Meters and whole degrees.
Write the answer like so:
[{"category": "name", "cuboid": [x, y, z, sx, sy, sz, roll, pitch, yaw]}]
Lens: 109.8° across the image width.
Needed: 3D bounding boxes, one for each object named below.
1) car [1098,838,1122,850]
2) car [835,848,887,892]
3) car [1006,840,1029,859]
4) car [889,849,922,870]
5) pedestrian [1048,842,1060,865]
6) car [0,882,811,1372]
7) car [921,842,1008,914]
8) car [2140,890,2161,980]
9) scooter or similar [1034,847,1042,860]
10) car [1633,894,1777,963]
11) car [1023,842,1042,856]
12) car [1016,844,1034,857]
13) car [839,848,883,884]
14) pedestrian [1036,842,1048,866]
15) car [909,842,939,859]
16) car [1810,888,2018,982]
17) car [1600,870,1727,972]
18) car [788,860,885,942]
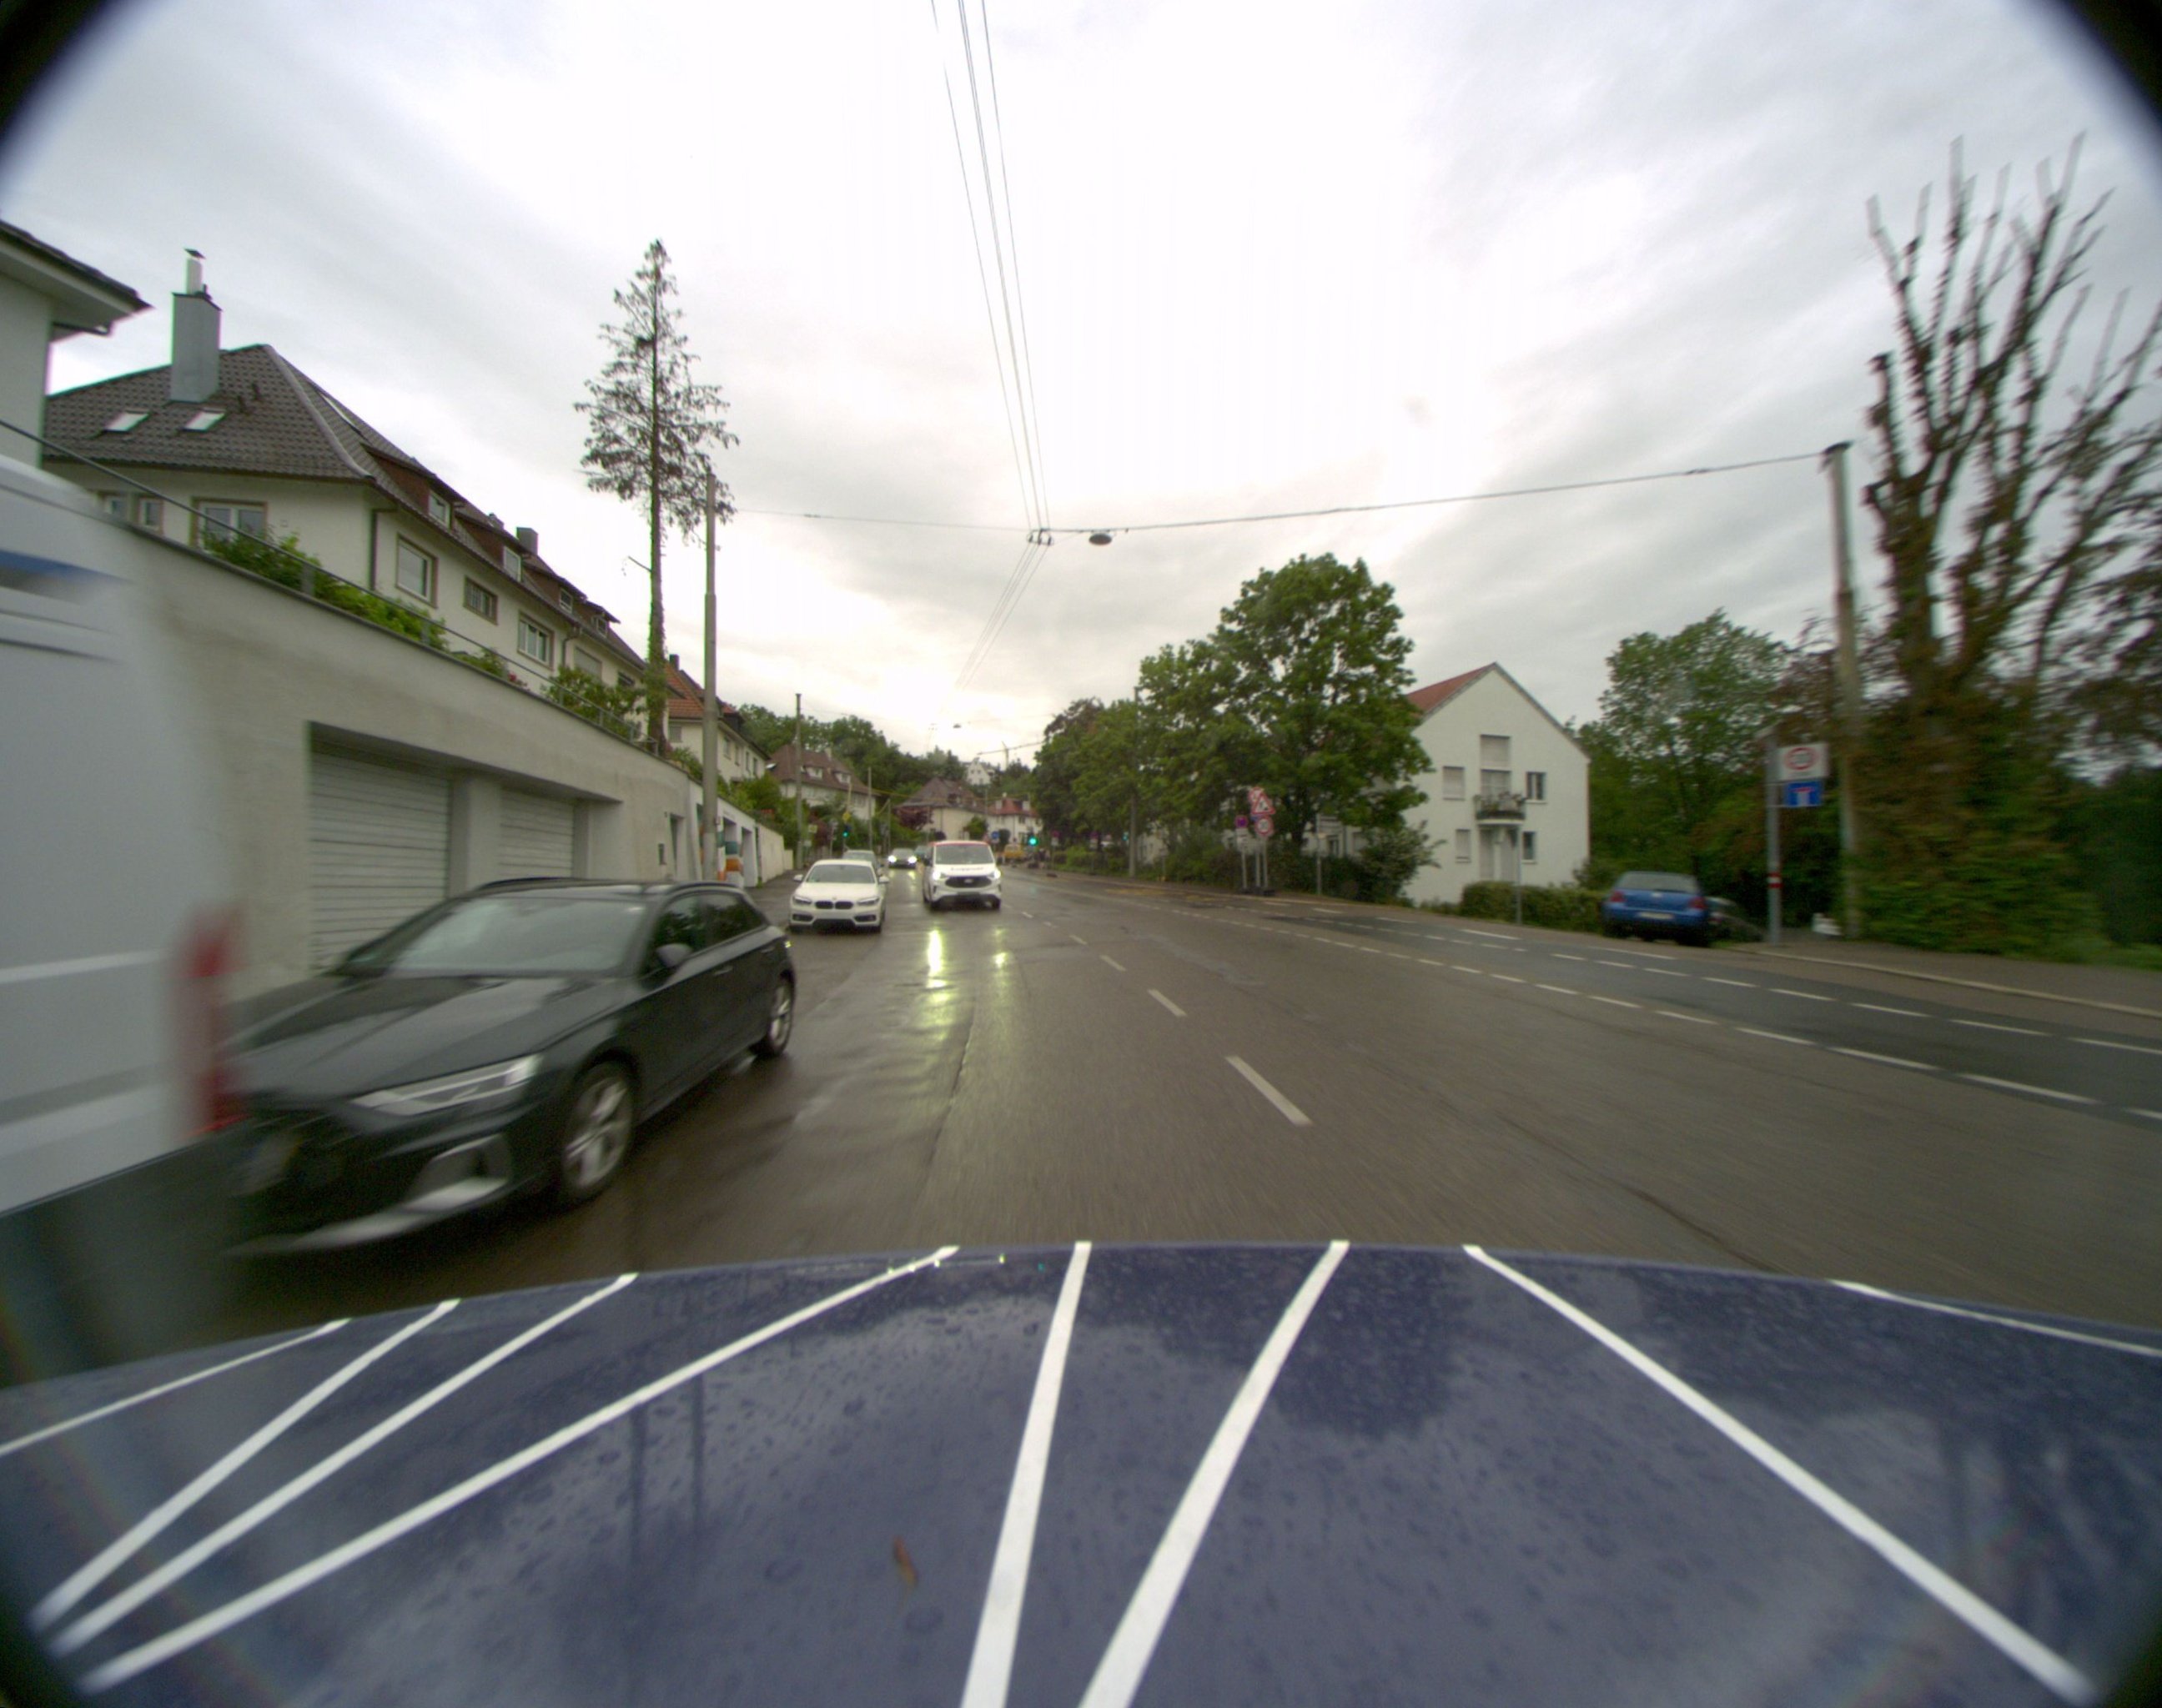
[{"category": "car", "cuboid": [4.613, -1.614, 122.257, 1.805, 1.791, 4.471, 2, 2, 33]}, {"category": "car", "cuboid": [-8.704, 0.584, 29.928, 1.721, 1.504, 3.992, 1, 1, -19]}, {"category": "car", "cuboid": [-6.764, -0.534, 81.464, 1.807, 1.917, 4.577, 2, 2, 3]}, {"category": "car", "cuboid": [-12.966, 0.359, 56.382, 1.990, 1.428, 4.510, 0, 2, -7]}, {"category": "pedestrian", "cuboid": [-2.179, -0.009, 60.253, 0.683, 1.806, 1.153, 0, 1, -16]}, {"category": "car", "cuboid": [-3.190, 1.007, 4.675, 1.758, 1.487, 4.182, 1, 0, -3]}, {"category": "car", "cuboid": [-3.581, 0.595, 22.681, 2.044, 1.928, 4.508, -1, 1, -15]}, {"category": "car", "cuboid": [16.216, 1.219, 9.660, 1.550, 1.319, 3.569, 2, 0, 23]}, {"category": "scooter or similar", "cuboid": [-4.423, -0.018, 77.878, 0.399, 1.253, 1.318, -2, 2, 13]}, {"category": "car", "cuboid": [16.591, 1.887, 20.159, 4.089, 1.485, 1.837, 1, 1, -34]}, {"category": "car", "cuboid": [-5.914, -0.573, 92.645, 1.723, 1.599, 4.463, 1, 2, 5]}, {"category": "car", "cuboid": [-6.440, -0.425, 87.455, 1.577, 1.446, 3.464, 2, 2, 5]}, {"category": "car", "cuboid": [-10.113, 0.499, 34.975, 1.788, 1.412, 4.422, 2, 1, -16]}, {"category": "pedestrian", "cuboid": [-3.109, -0.006, 59.987, 0.710, 1.806, 1.145, 0, 1, -16]}, {"category": "car", "cuboid": [-15.479, -0.369, 75.222, 1.988, 1.428, 4.513, 0, 3, 1]}, {"category": "car", "cuboid": [25.999, 2.489, 23.854, 3.996, 2.395, 2.055, 5, 1, 1]}, {"category": "car", "cuboid": [12.182, 1.260, 15.908, 1.836, 1.657, 3.950, 3, 3, 38]}, {"category": "car", "cuboid": [-5.104, 0.902, 16.293, 1.712, 1.406, 4.035, 1, 1, -14]}]
